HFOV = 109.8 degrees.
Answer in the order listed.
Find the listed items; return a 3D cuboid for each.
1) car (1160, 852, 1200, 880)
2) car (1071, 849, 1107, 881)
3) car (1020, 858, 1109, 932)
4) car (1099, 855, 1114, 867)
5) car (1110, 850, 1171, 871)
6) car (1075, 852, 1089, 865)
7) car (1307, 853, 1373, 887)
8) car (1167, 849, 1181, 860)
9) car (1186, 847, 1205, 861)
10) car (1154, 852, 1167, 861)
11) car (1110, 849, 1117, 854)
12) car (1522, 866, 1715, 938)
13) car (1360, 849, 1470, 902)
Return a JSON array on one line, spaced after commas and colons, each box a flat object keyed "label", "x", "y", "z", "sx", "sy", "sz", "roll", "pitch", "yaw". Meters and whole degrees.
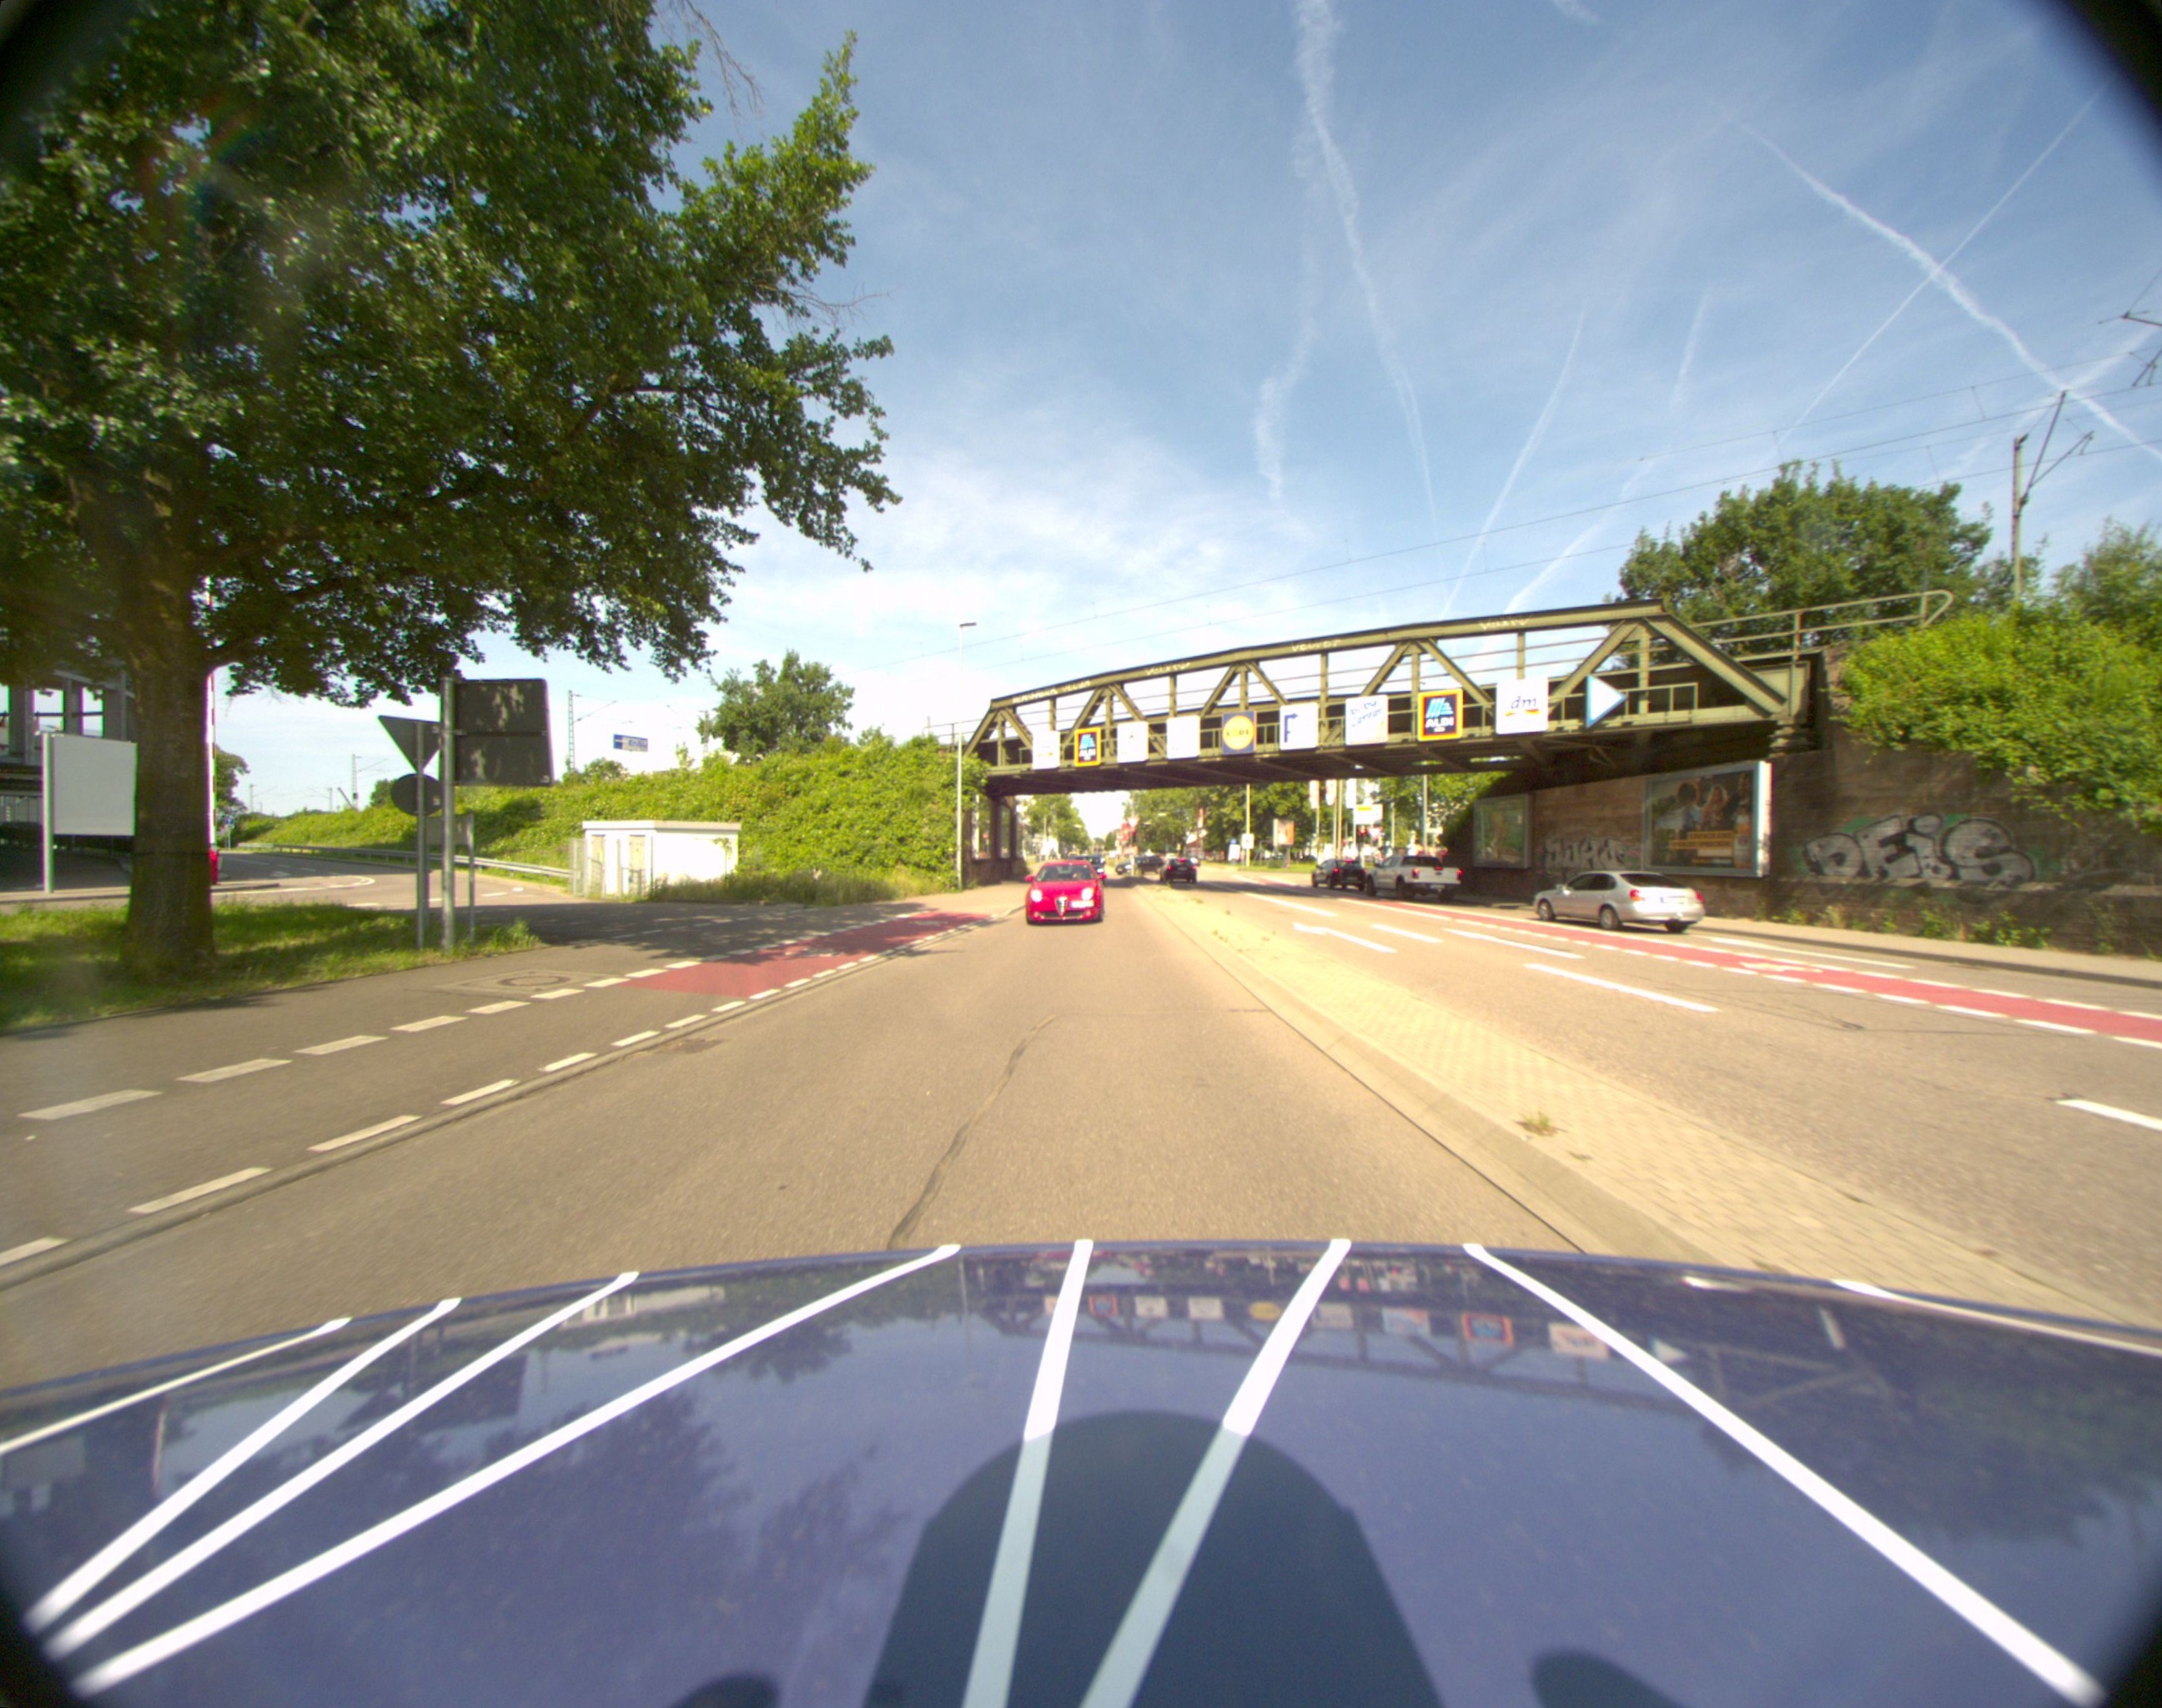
[{"label": "car", "x": 5.569, "y": 0.650, "z": 43.323, "sx": 1.785, "sy": 1.439, "sz": 4.120, "roll": 1, "pitch": 1, "yaw": 1}, {"label": "car", "x": 0.477, "y": 0.552, "z": 41.240, "sx": 1.824, "sy": 1.632, "sz": 4.112, "roll": -1, "pitch": 1, "yaw": 2}, {"label": "car", "x": -0.279, "y": 0.893, "z": 18.242, "sx": 1.797, "sy": 1.446, "sz": 3.979, "roll": -1, "pitch": 1, "yaw": 3}, {"label": "car", "x": 3.267, "y": 0.938, "z": 98.950, "sx": 1.824, "sy": 1.467, "sz": 4.246, "roll": 1, "pitch": 1, "yaw": 0}, {"label": "car", "x": 4.700, "y": 0.470, "z": 59.905, "sx": 4.936, "sy": 1.564, "sz": 1.698, "roll": 0, "pitch": 1, "yaw": -38}, {"label": "car", "x": 0.122, "y": 0.609, "z": 104.659, "sx": 1.824, "sy": 1.569, "sz": 4.246, "roll": 1, "pitch": 1, "yaw": 0}, {"label": "car", "x": 13.118, "y": 0.791, "z": 38.768, "sx": 1.877, "sy": 1.587, "sz": 4.386, "roll": 0, "pitch": 1, "yaw": 0}, {"label": "car", "x": 15.216, "y": 0.032, "z": 124.495, "sx": 1.824, "sy": 1.712, "sz": 3.636, "roll": -1, "pitch": 1, "yaw": -2}, {"label": "car", "x": 14.582, "y": 0.001, "z": 97.007, "sx": 1.824, "sy": 1.712, "sz": 3.636, "roll": -1, "pitch": 1, "yaw": -2}, {"label": "car", "x": 15.475, "y": 0.454, "z": 147.905, "sx": 1.927, "sy": 1.712, "sz": 3.824, "roll": -1, "pitch": 1, "yaw": -2}, {"label": "car", "x": 9.512, "y": -0.756, "z": 223.608, "sx": 1.927, "sy": 1.507, "sz": 3.824, "roll": -1, "pitch": 1, "yaw": -2}, {"label": "car", "x": 12.737, "y": 1.059, "z": 18.399, "sx": 1.639, "sy": 1.380, "sz": 4.318, "roll": 1, "pitch": 1, "yaw": 1}, {"label": "car", "x": 13.223, "y": 0.779, "z": 30.553, "sx": 1.998, "sy": 1.850, "sz": 5.450, "roll": 2, "pitch": 1, "yaw": 0}]
